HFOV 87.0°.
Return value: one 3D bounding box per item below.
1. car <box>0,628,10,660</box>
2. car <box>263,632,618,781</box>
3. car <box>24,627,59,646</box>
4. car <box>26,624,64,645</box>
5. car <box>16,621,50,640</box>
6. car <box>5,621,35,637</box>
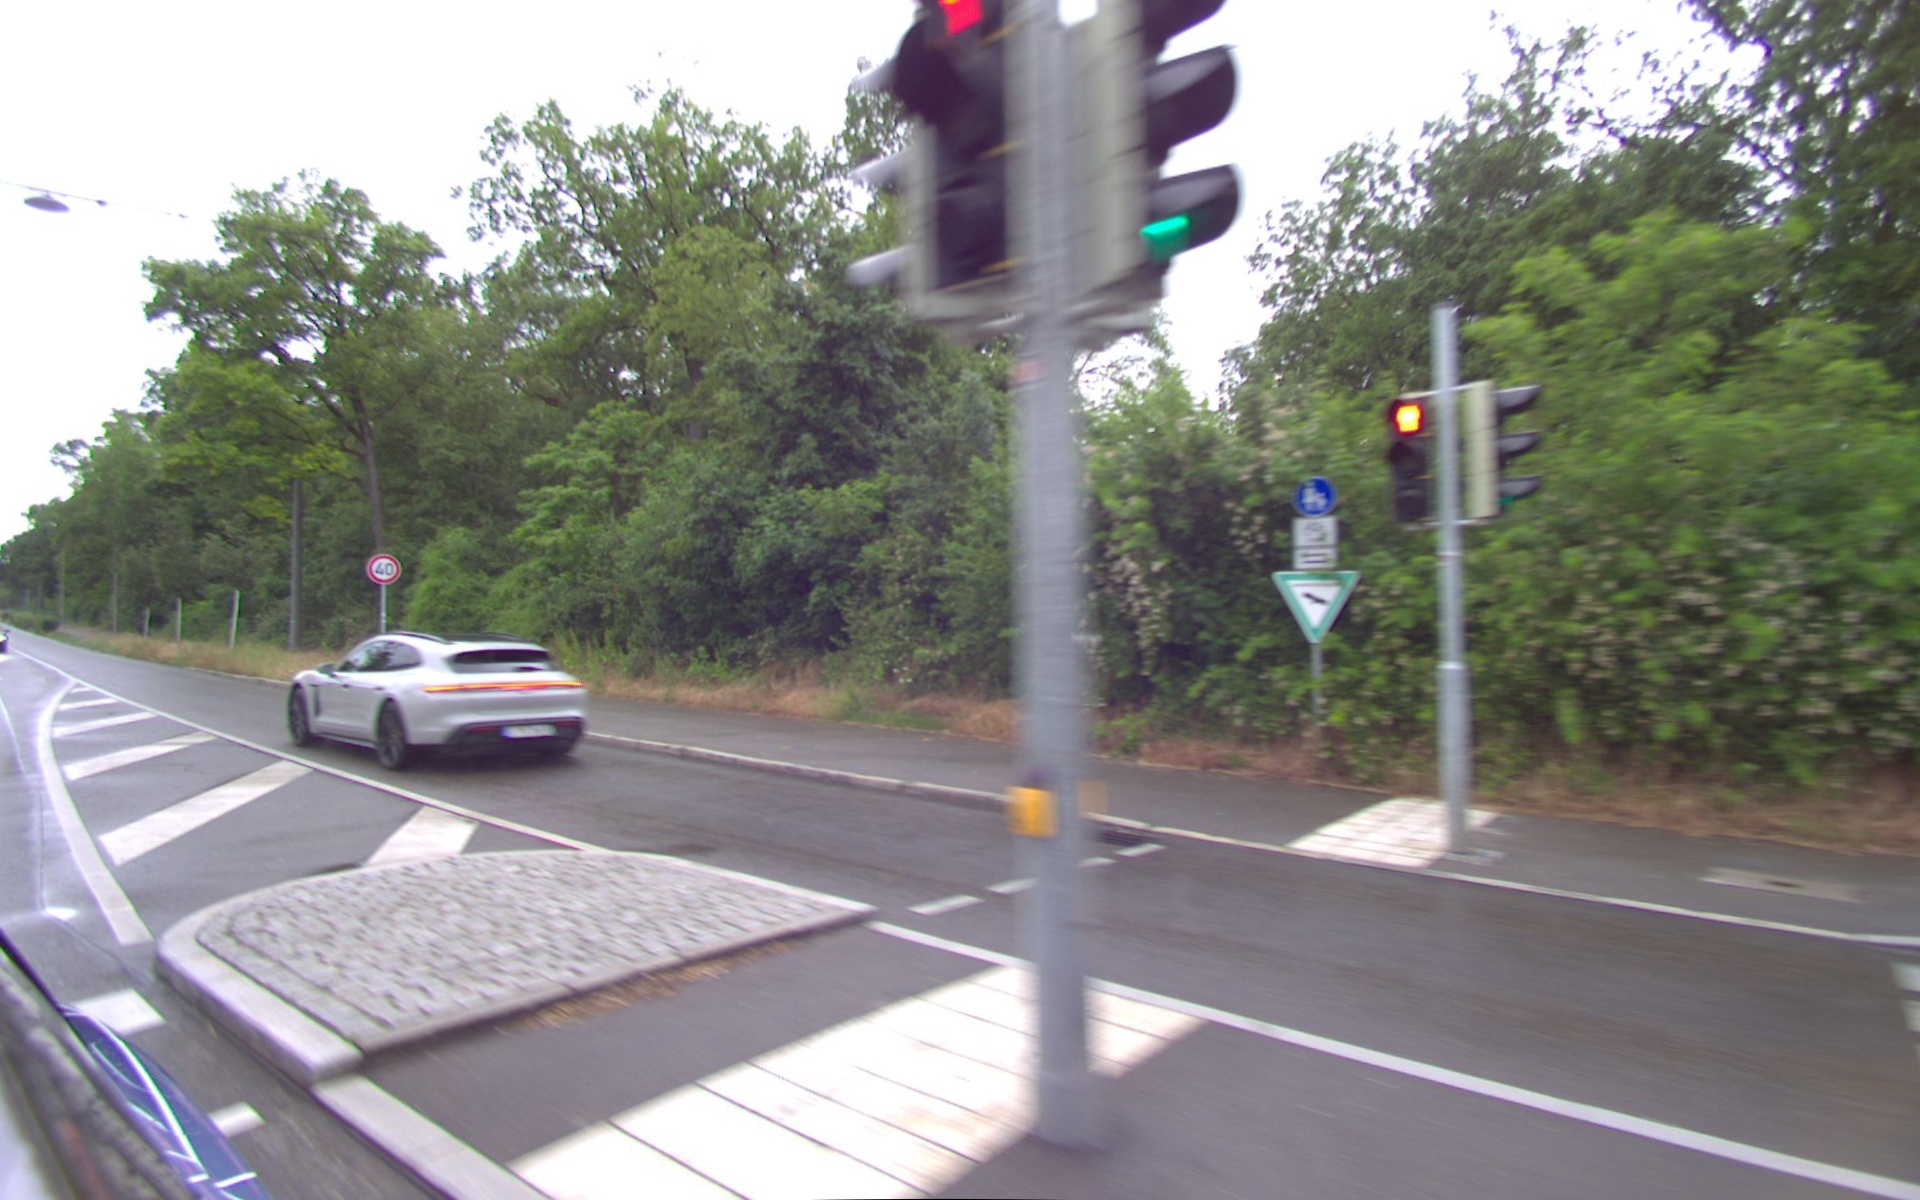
[{"bbox_3d":[-45.437,2.013,46.741,4.604,1.466,1.919,-2,-3,43],"label":"car"},{"bbox_3d":[-6.132,1.089,11.727,4.598,1.386,1.921,-1,-3,39],"label":"car"},{"bbox_3d":[-79.855,3.154,87.941,4.605,1.615,1.918,-2,-4,44],"label":"car"},{"bbox_3d":[-73.930,2.780,81.773,4.605,1.615,1.918,-2,-4,44],"label":"car"},{"bbox_3d":[-84.528,2.792,92.259,4.605,1.615,1.918,-2,-4,44],"label":"car"},{"bbox_3d":[-94.442,2.911,101.693,4.605,1.615,1.918,-2,-4,44],"label":"car"}]
